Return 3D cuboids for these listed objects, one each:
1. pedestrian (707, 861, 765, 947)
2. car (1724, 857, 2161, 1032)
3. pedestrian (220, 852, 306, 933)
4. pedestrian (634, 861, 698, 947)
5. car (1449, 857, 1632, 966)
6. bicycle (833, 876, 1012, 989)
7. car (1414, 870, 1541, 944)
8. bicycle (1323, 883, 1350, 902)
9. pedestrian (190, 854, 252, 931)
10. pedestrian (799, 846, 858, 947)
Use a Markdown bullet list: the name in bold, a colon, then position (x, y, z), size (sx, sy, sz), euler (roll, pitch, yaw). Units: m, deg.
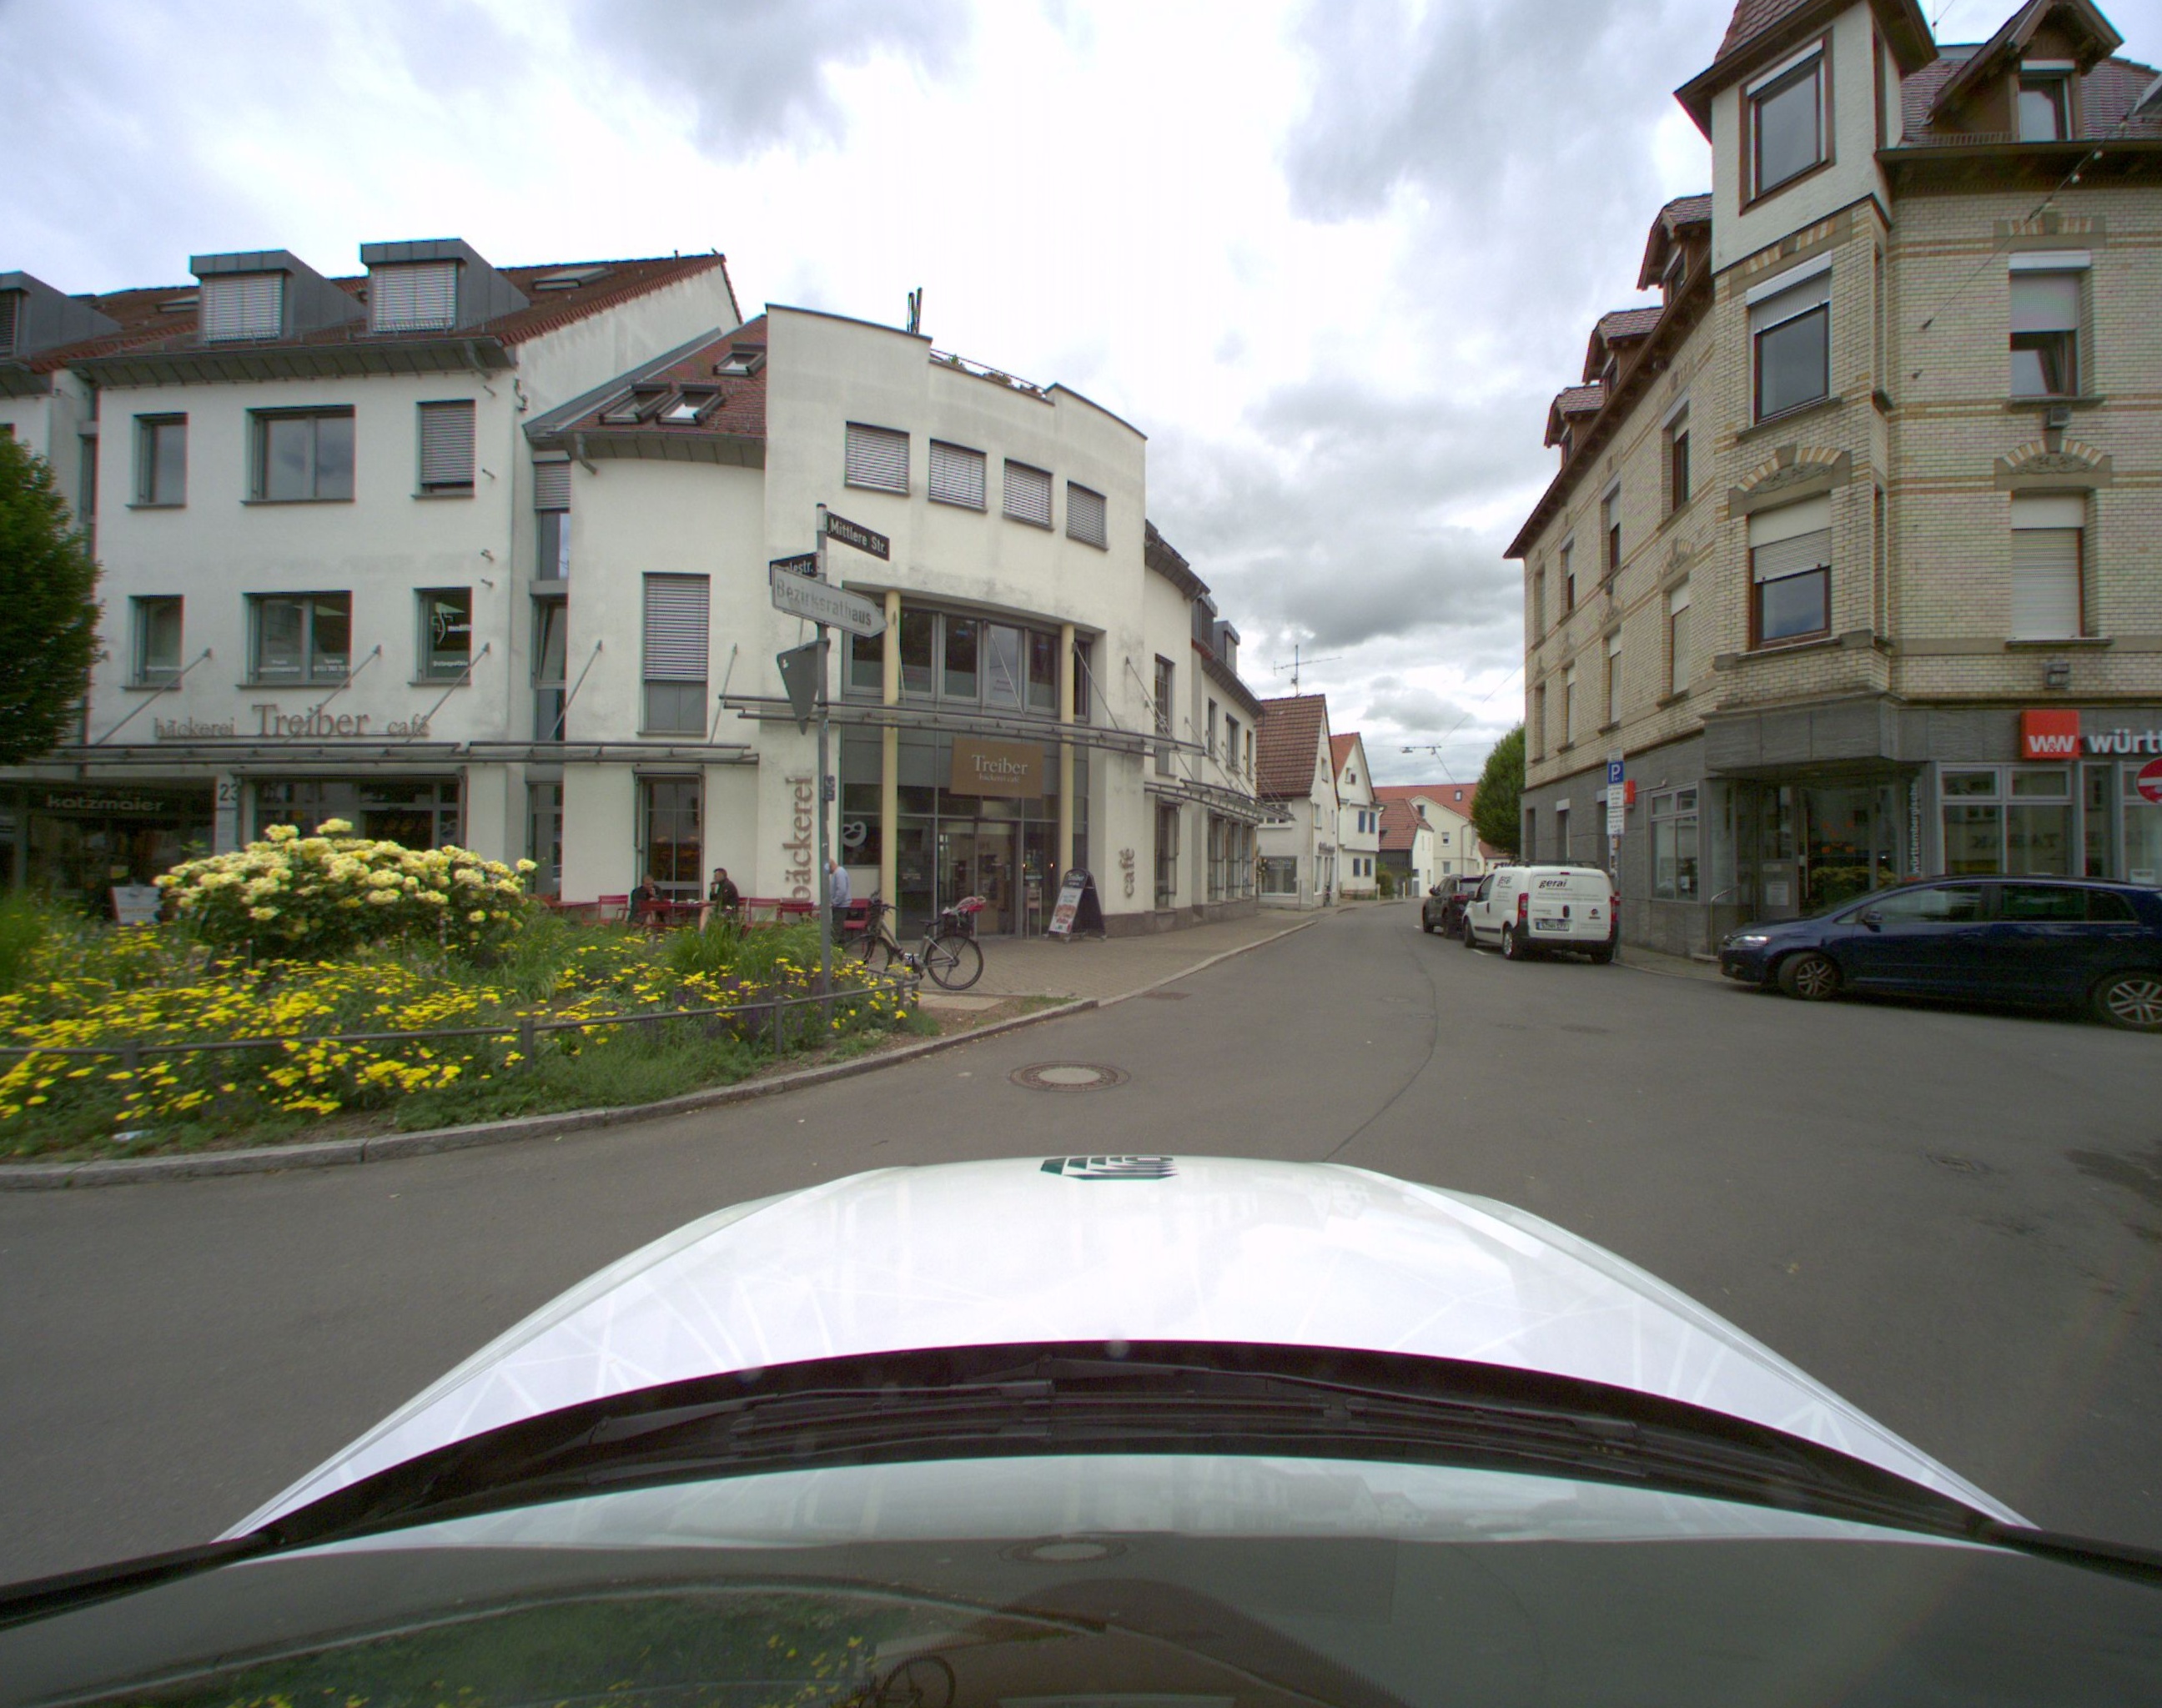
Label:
- **pedestrian**: position (-5.567, 0.798, 13.174), size (0.654, 1.341, 0.694), euler (1, 0, -7)
- **car**: position (10.372, 0.965, 9.893), size (3.971, 1.704, 1.874), euler (1, -2, 40)
- **pedestrian**: position (-13.673, 0.638, 13.633), size (0.563, 1.318, 0.766), euler (1, -2, 7)
- **pedestrian**: position (-6.682, 0.792, 13.133), size (0.699, 1.332, 0.683), euler (1, 0, -7)
- **car**: position (8.738, 1.006, 15.922), size (1.814, 1.792, 4.230), euler (1, -1, 10)
- **bicycle**: position (-1.898, 0.926, 9.919), size (1.964, 1.240, 0.745), euler (1, 0, 5)
- **car**: position (9.873, 1.267, 20.654), size (1.776, 1.601, 4.556), euler (2, -1, 11)
- **bicycle**: position (14.625, 2.176, 46.594), size (2.104, 1.039, 0.438), euler (2, 2, -44)
- **pedestrian**: position (-14.540, 0.632, 13.770), size (0.487, 1.271, 0.503), euler (1, 0, 6)
- **pedestrian**: position (-3.925, 0.642, 12.710), size (0.699, 1.525, 0.865), euler (1, 0, -6)
